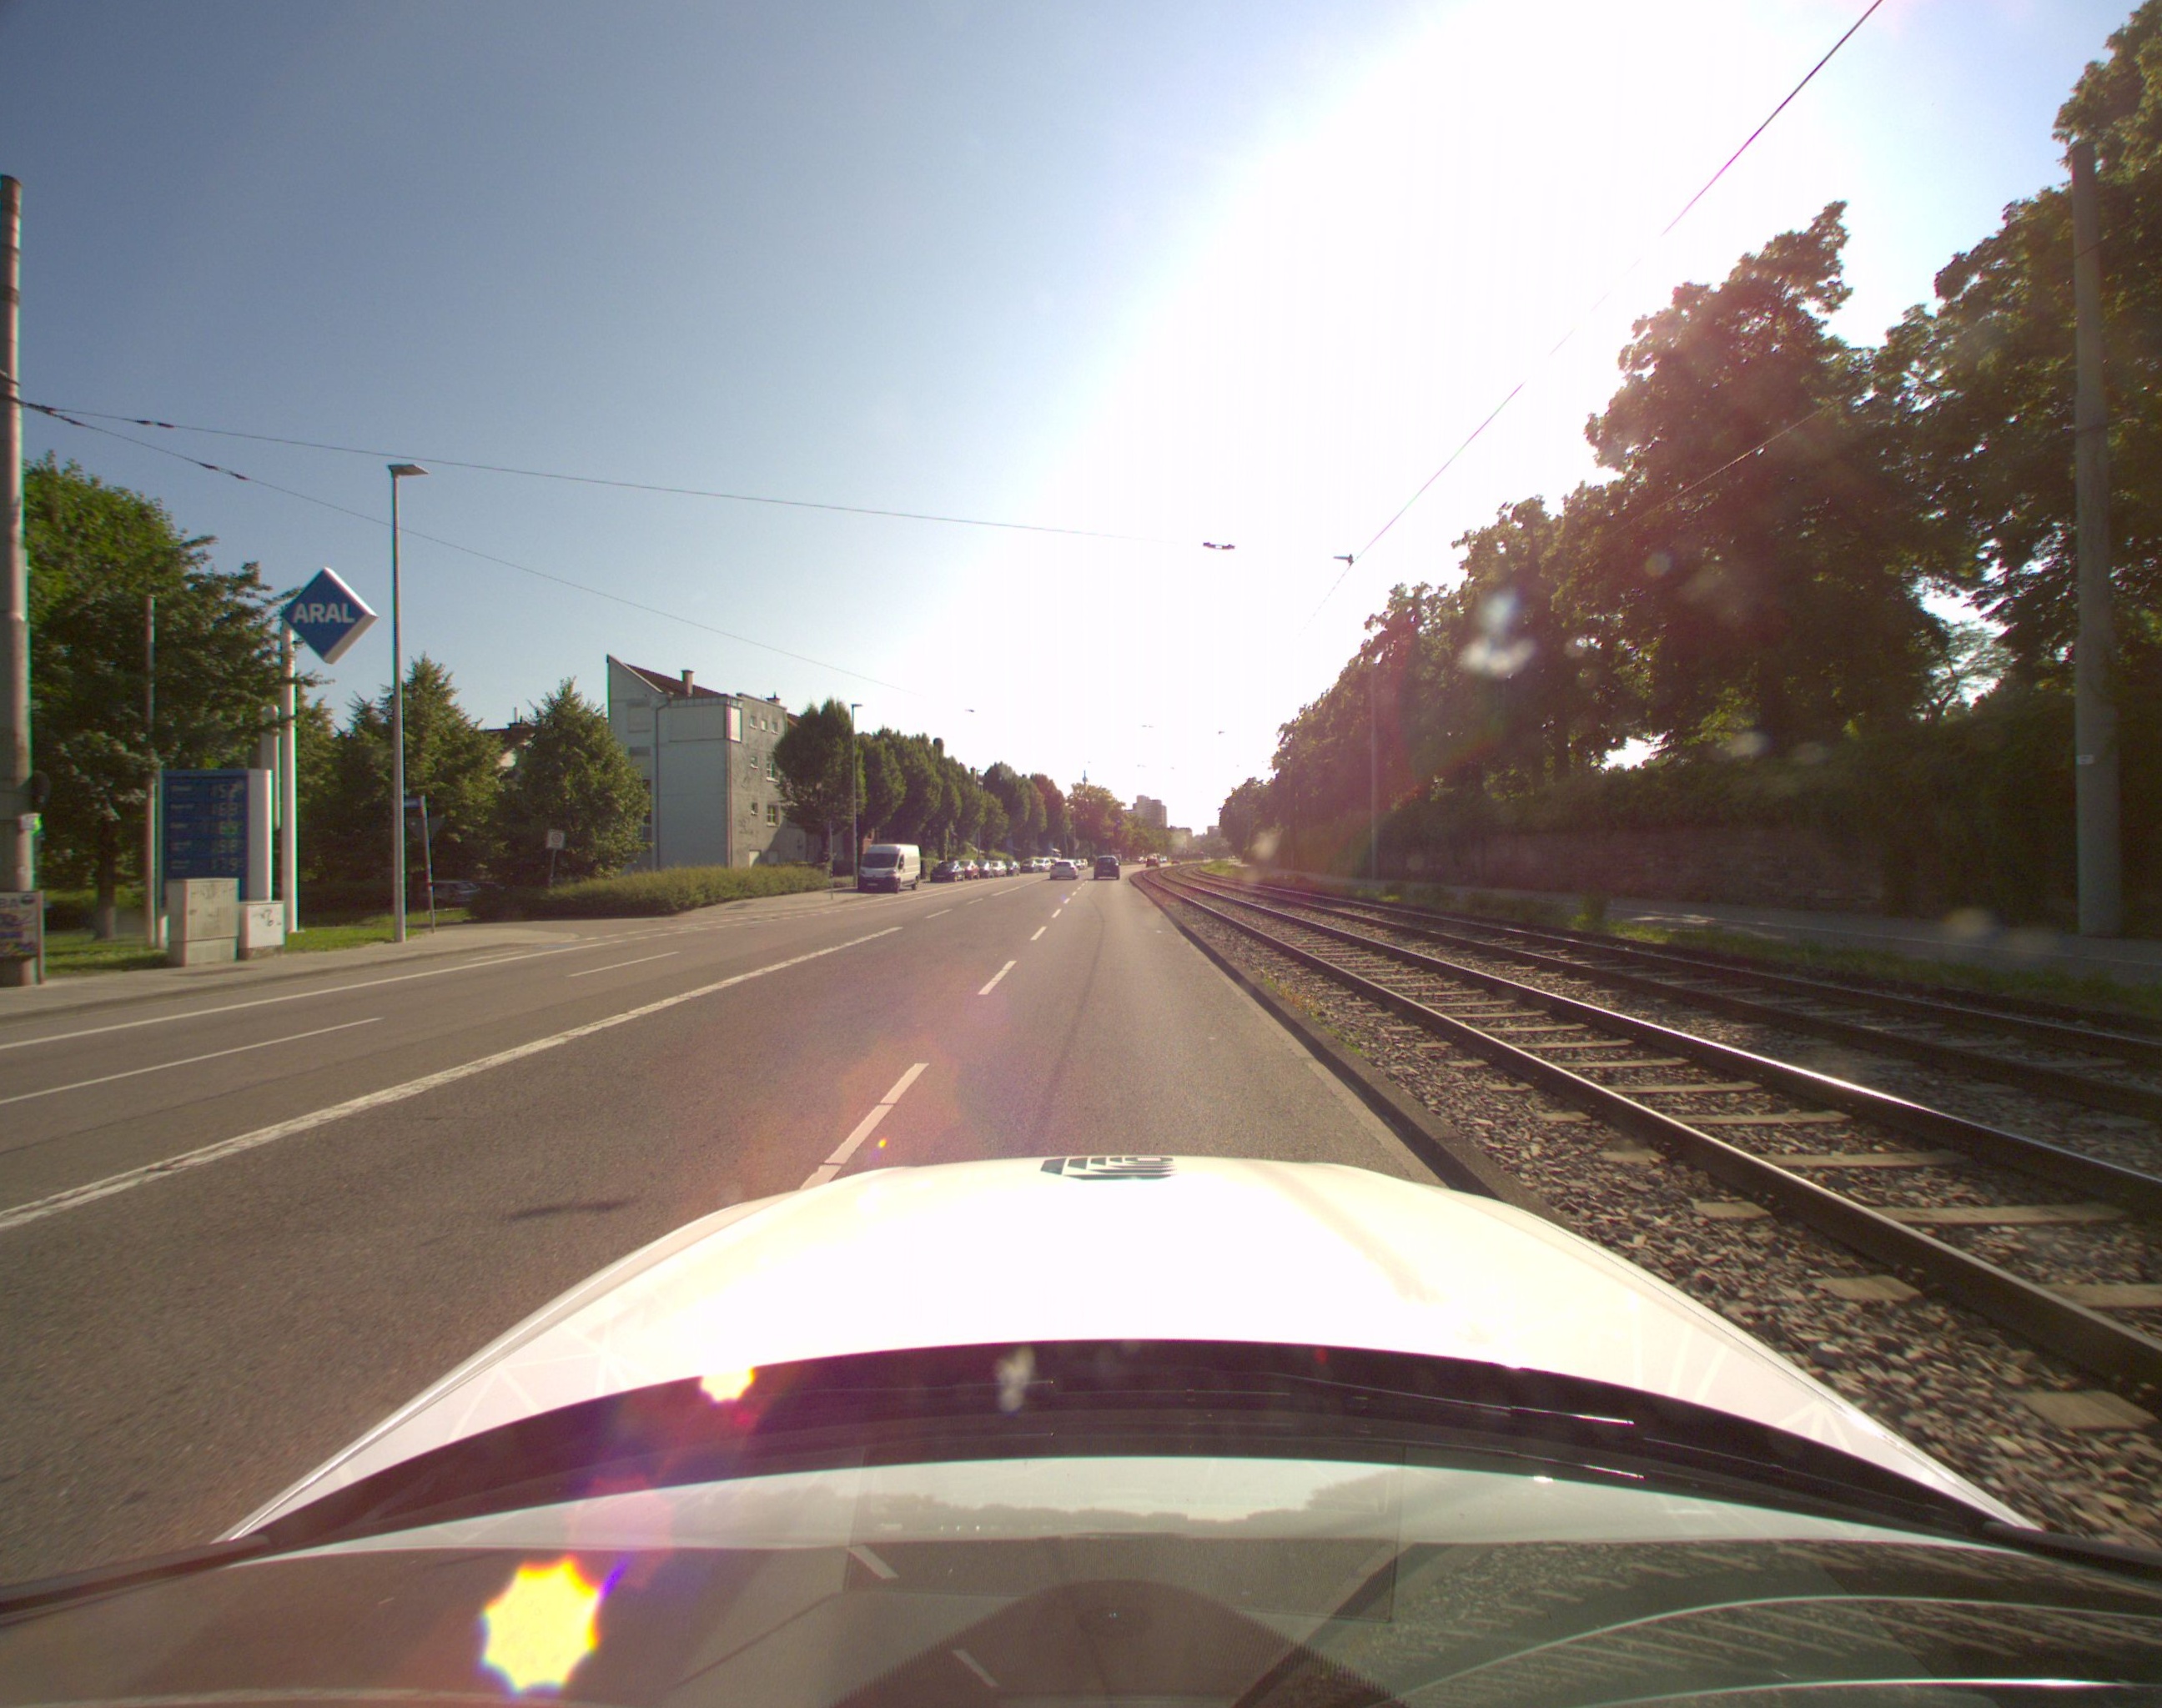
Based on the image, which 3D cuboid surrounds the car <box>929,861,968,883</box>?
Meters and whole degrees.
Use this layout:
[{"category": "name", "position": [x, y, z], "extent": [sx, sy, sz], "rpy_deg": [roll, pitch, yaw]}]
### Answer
[{"category": "car", "position": [-9.415, 1.253, 58.141], "extent": [1.645, 1.424, 4.718], "rpy_deg": [-1, 0, 4]}]

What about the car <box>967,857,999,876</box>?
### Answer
[{"category": "car", "position": [-8.368, 1.040, 69.758], "extent": [1.753, 1.574, 4.306], "rpy_deg": [1, 0, 6]}]

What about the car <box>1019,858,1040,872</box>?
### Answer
[{"category": "car", "position": [-5.791, 1.211, 92.032], "extent": [1.606, 1.466, 4.068], "rpy_deg": [0, 0, 9]}]

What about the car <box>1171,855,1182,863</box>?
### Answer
[{"category": "car", "position": [19.487, 1.000, 166.305], "extent": [1.798, 1.449, 4.015], "rpy_deg": [0, 0, 14]}]

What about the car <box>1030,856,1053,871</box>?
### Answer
[{"category": "car", "position": [-4.703, 1.105, 97.328], "extent": [1.658, 1.701, 4.838], "rpy_deg": [1, 0, 11]}]

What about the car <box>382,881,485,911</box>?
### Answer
[{"category": "car", "position": [-29.935, 1.944, 37.674], "extent": [3.755, 1.268, 1.751], "rpy_deg": [-1, 0, 14]}]

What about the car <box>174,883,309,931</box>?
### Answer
[{"category": "car", "position": [-31.099, 1.965, 30.205], "extent": [3.956, 1.697, 1.780], "rpy_deg": [-2, -3, 16]}]

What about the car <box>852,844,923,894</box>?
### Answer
[{"category": "car", "position": [-10.167, 0.729, 43.384], "extent": [2.144, 2.457, 6.185], "rpy_deg": [1, 0, 1]}]

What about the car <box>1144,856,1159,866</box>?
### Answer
[{"category": "car", "position": [10.468, 0.967, 120.702], "extent": [1.799, 1.449, 4.013], "rpy_deg": [0, 0, 12]}]

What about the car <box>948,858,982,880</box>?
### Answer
[{"category": "car", "position": [-9.047, 1.160, 63.743], "extent": [1.754, 1.574, 4.166], "rpy_deg": [-1, -1, 4]}]

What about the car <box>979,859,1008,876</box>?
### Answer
[{"category": "car", "position": [-8.000, 1.225, 74.897], "extent": [1.704, 1.471, 4.851], "rpy_deg": [1, -1, 5]}]

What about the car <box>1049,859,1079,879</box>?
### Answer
[{"category": "car", "position": [-1.150, 1.052, 57.405], "extent": [1.857, 1.348, 4.003], "rpy_deg": [-1, 0, 3]}]

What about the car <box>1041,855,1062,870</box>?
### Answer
[{"category": "car", "position": [-3.740, 1.075, 103.498], "extent": [1.752, 1.845, 4.592], "rpy_deg": [3, 0, 9]}]

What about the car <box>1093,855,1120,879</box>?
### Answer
[{"category": "car", "position": [1.865, 0.927, 57.838], "extent": [1.804, 1.645, 4.003], "rpy_deg": [0, 0, 3]}]

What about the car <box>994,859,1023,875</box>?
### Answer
[{"category": "car", "position": [-7.118, 1.269, 80.730], "extent": [1.700, 1.472, 4.921], "rpy_deg": [1, 0, 8]}]

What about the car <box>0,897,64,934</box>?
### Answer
[{"category": "car", "position": [-45.184, 2.591, 34.186], "extent": [3.956, 1.390, 1.713], "rpy_deg": [-2, 0, 16]}]

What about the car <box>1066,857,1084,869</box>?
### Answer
[{"category": "car", "position": [-0.821, 1.289, 117.662], "extent": [1.752, 1.539, 3.993], "rpy_deg": [3, 0, 11]}]

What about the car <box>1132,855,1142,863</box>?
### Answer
[{"category": "car", "position": [13.223, 1.199, 192.612], "extent": [1.720, 1.658, 4.014], "rpy_deg": [-2, 0, 12]}]
